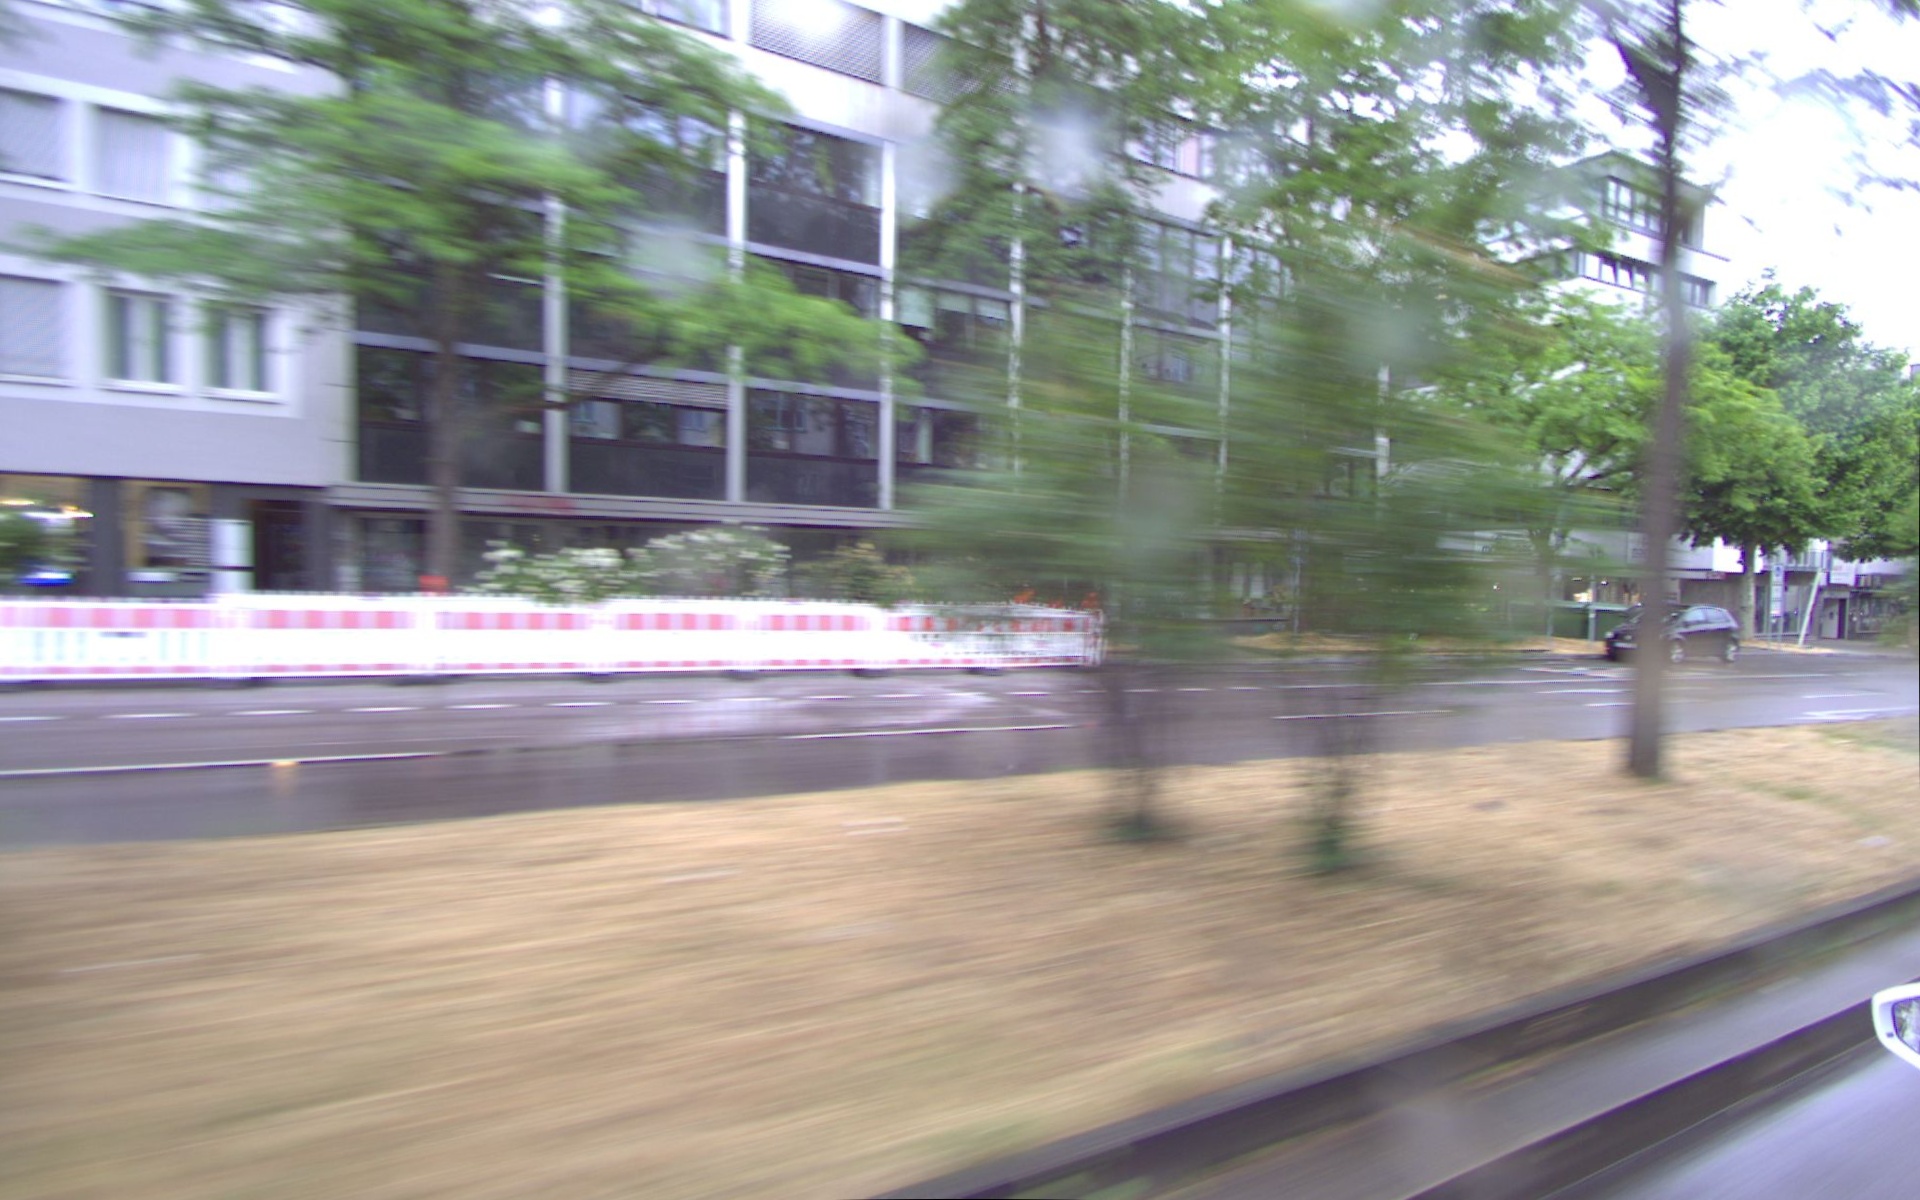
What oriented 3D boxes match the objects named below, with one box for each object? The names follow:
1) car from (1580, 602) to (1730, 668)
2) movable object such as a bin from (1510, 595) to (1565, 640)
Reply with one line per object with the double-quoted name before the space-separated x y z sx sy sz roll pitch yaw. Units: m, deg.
"car" 19.132 0.942 27.628 3.975 1.657 1.770 2 1 -29
"movable object such as a bin" 20.433 0.605 35.560 1.074 1.508 1.274 1 1 -26
